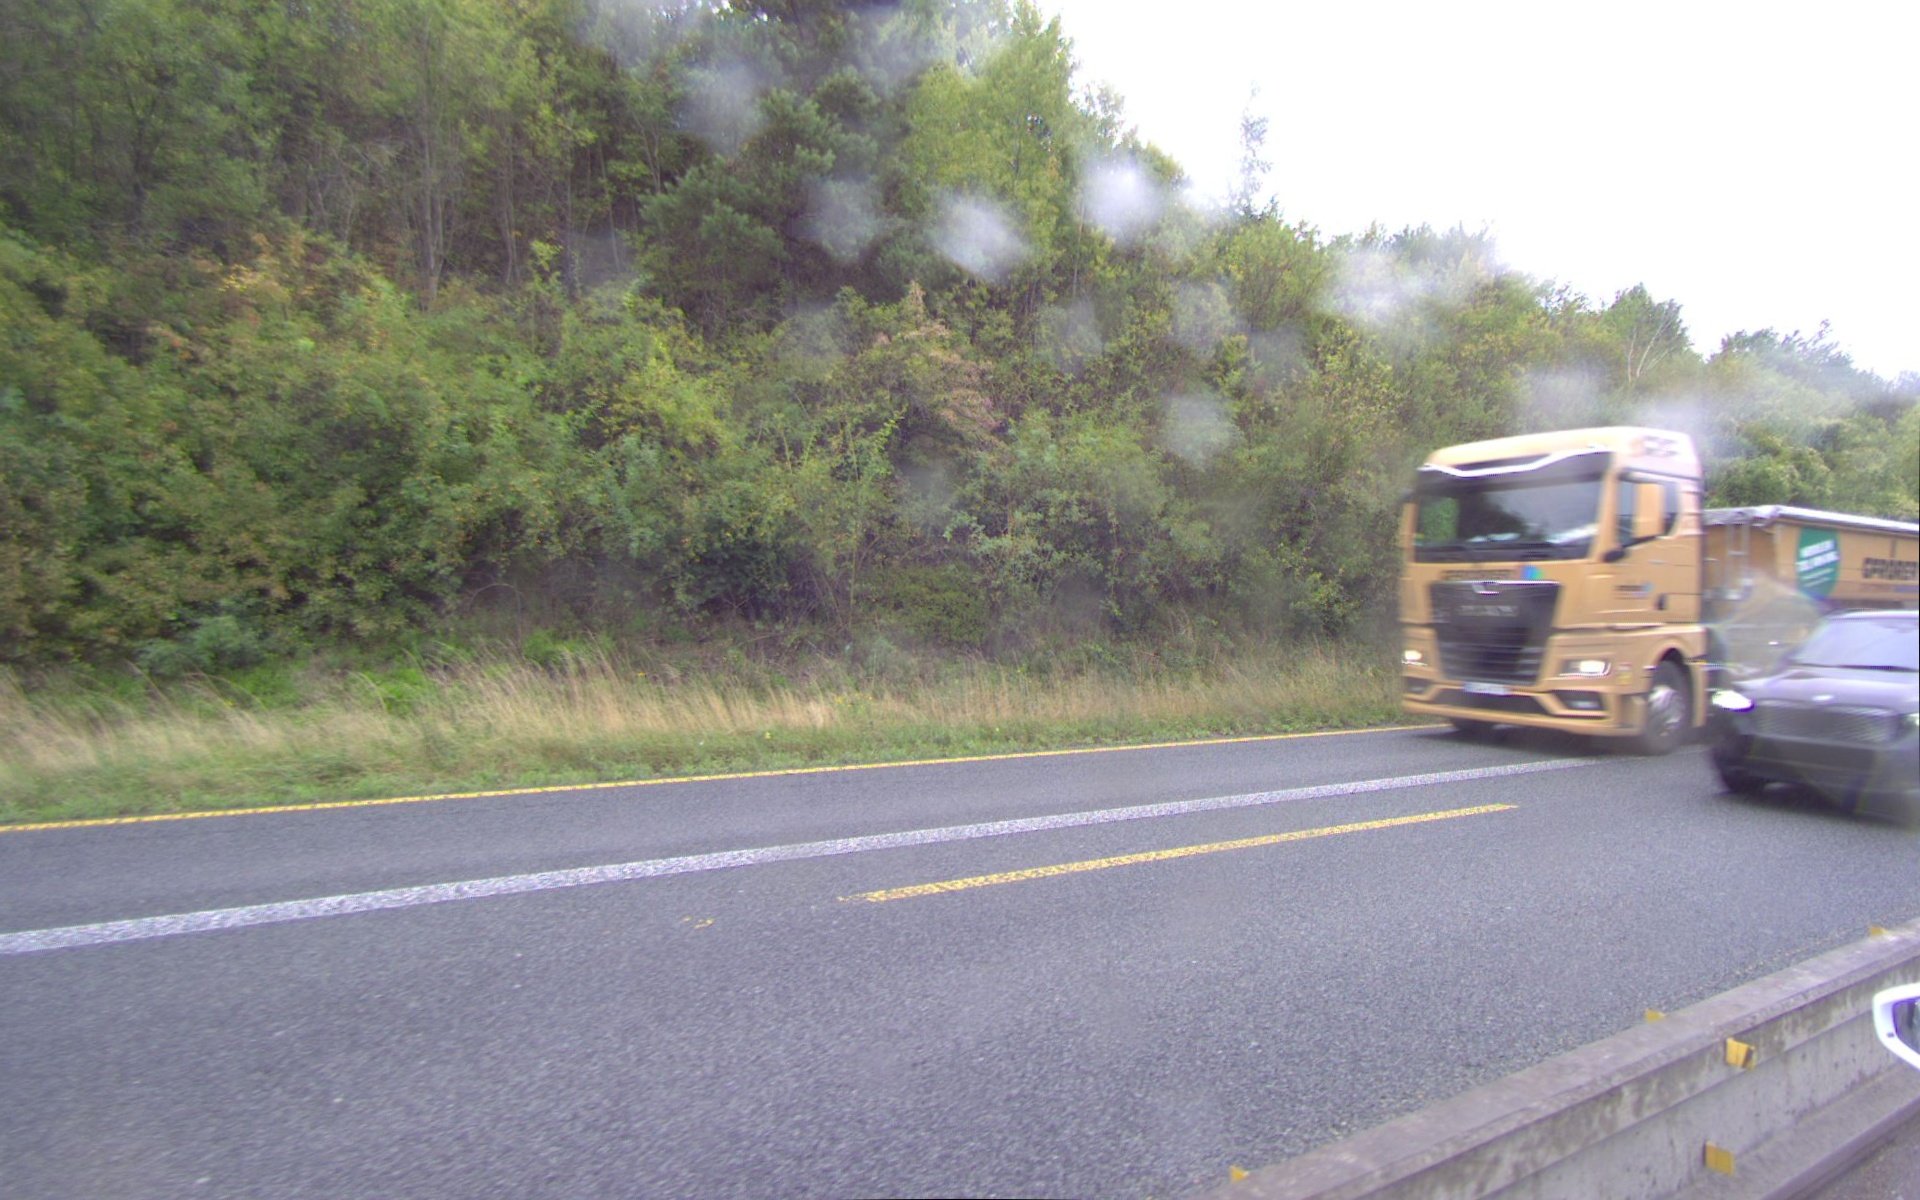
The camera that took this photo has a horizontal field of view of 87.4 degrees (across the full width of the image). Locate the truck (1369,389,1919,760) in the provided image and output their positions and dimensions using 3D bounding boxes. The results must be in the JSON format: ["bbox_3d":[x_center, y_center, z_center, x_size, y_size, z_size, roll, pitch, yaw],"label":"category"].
[{"bbox_3d":[10.965,-0.097,14.286,12.168,3.705,2.668,2,0,-30],"label":"truck"}]

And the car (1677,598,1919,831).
[{"bbox_3d":[8.217,0.860,8.605,4.073,1.628,1.925,2,0,-31],"label":"car"}]
